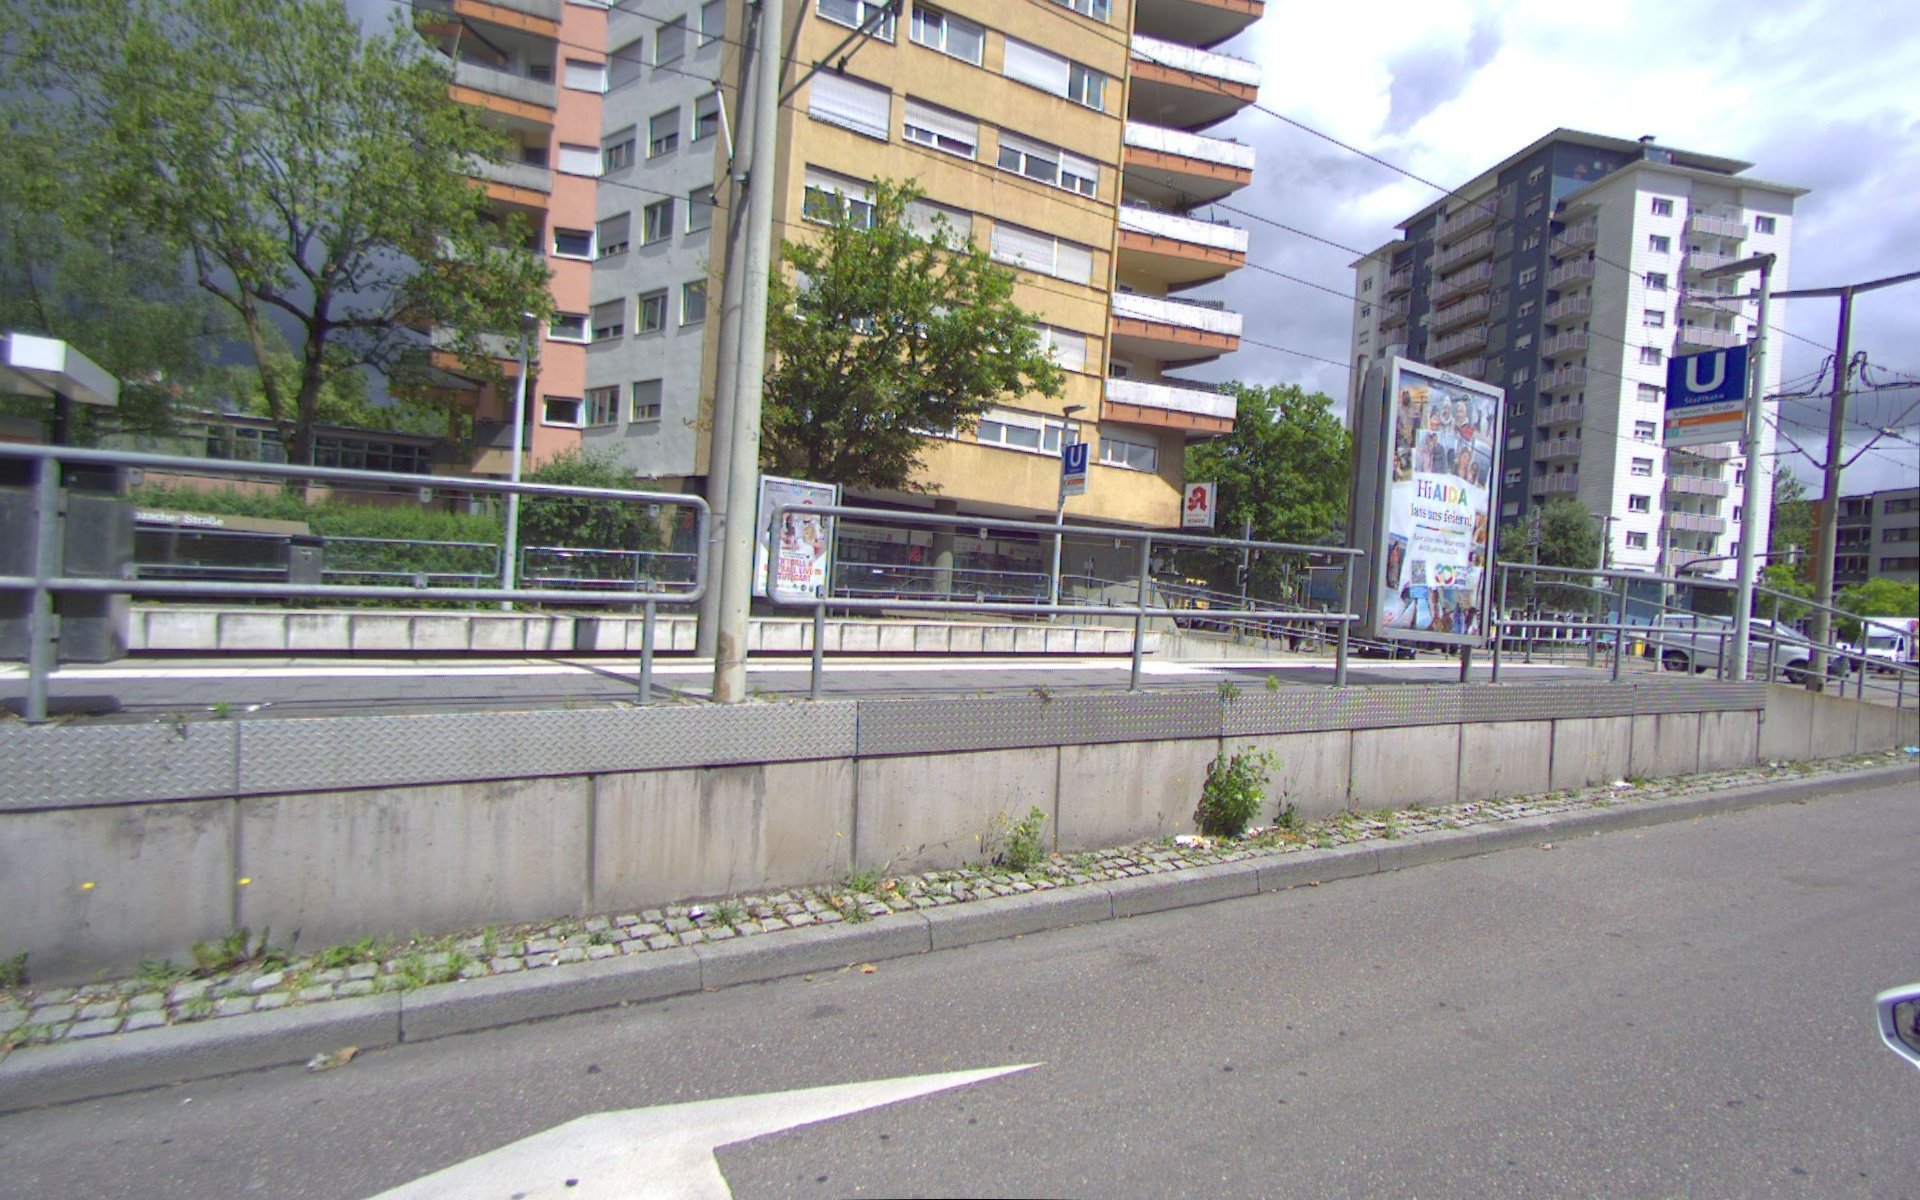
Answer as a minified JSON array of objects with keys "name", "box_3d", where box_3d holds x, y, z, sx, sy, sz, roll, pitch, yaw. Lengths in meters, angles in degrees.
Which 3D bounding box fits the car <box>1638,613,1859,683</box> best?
[{"name":"car","box_3d":[24.667,1.433,31.647,1.981,1.918,5.134,2,-1,-35]}]

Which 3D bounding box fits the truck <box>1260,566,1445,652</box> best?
[{"name":"truck","box_3d":[16.845,0.366,43.625,2.582,3.393,7.220,2,-1,-35]}]

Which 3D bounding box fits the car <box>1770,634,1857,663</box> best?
[{"name":"car","box_3d":[54.622,3.102,64.334,1.637,1.669,3.894,2,-1,-29]}]

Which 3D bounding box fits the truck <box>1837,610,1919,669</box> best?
[{"name":"truck","box_3d":[52.570,2.254,56.872,7.235,3.159,2.269,2,0,-31]}]
